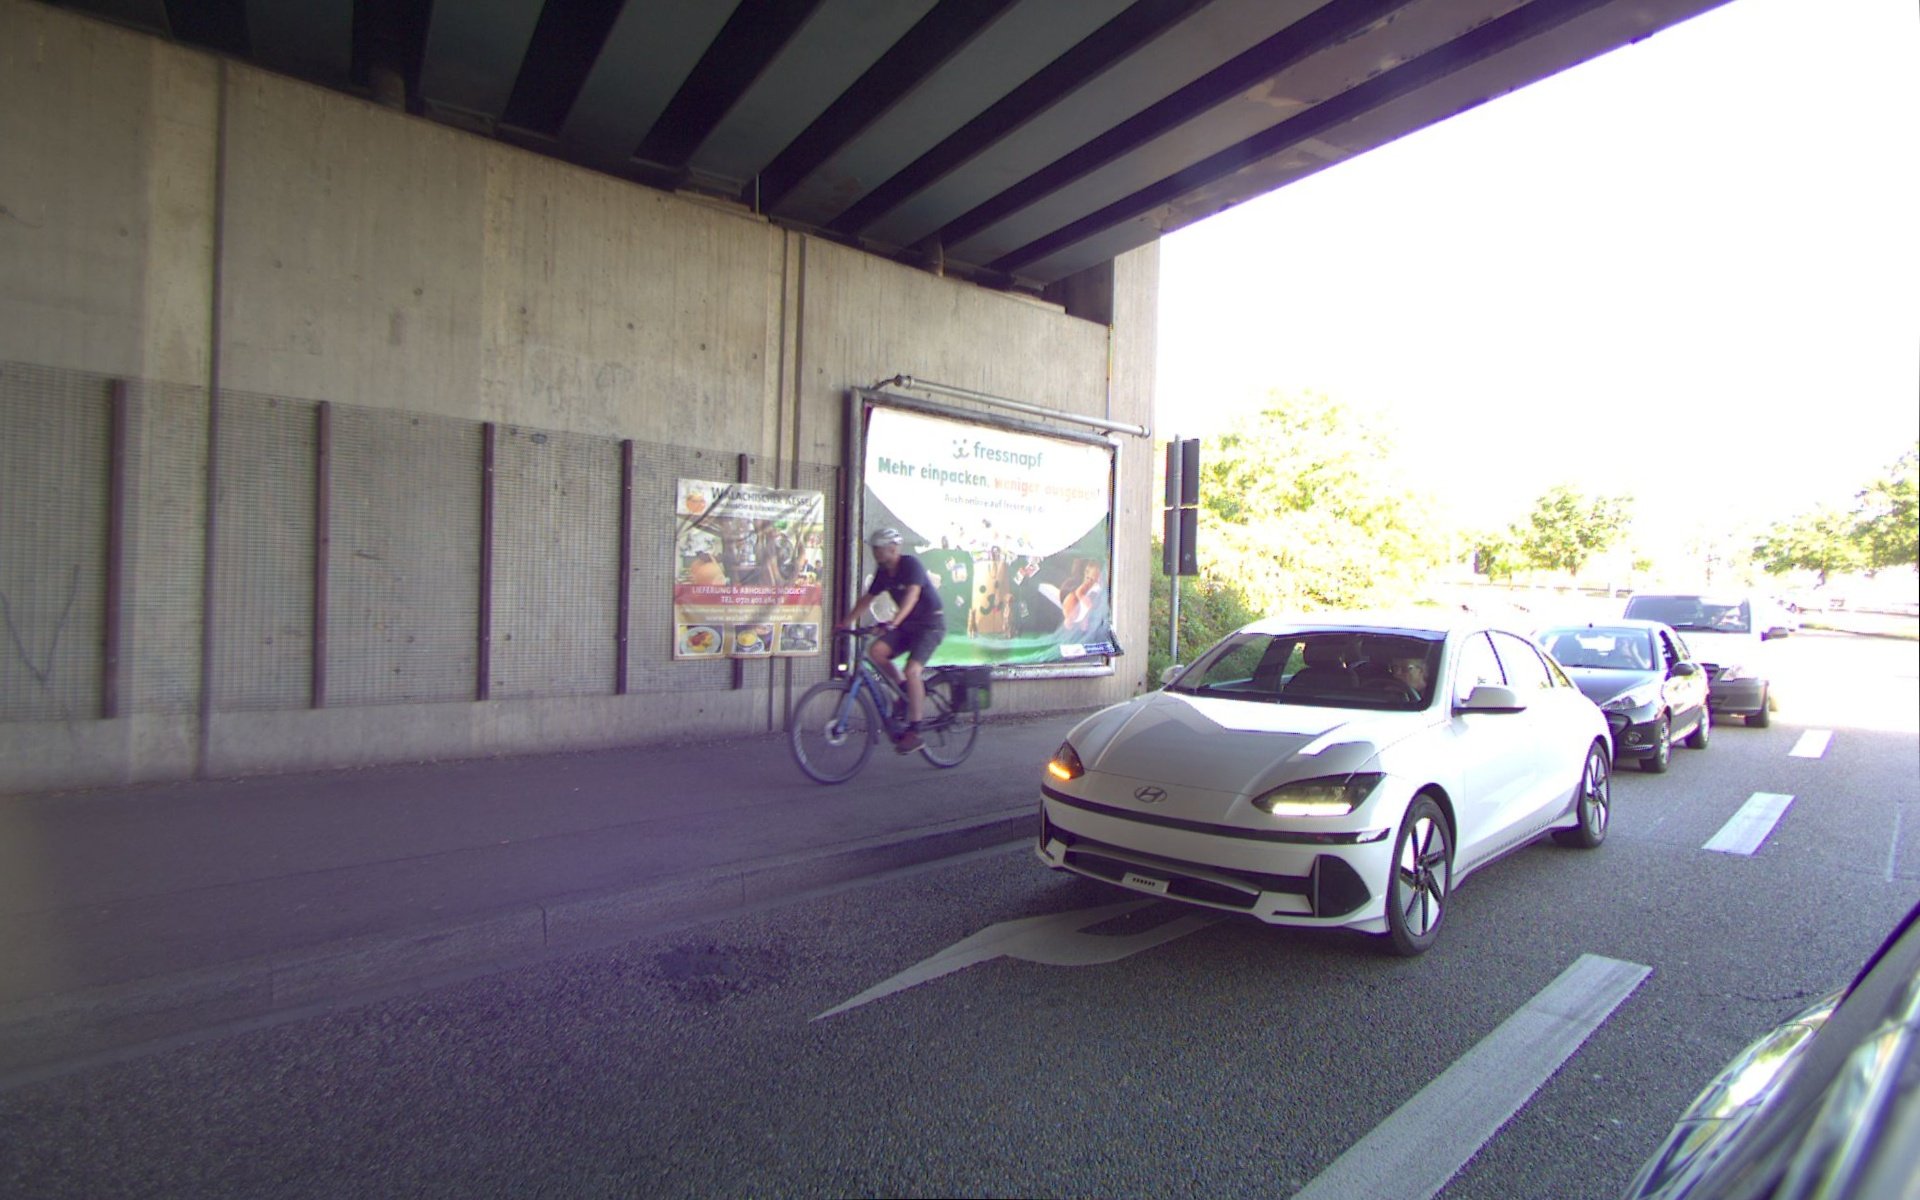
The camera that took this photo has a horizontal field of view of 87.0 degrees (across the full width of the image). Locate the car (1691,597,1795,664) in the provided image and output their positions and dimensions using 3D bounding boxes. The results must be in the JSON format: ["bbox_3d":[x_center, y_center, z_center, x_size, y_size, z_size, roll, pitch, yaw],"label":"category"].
[{"bbox_3d":[20.461,0.718,26.426,1.990,1.570,4.359,1,1,39],"label":"car"}]

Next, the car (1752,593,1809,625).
[{"bbox_3d":[41.358,0.420,51.075,1.724,1.421,3.829,0,2,32],"label":"car"}]

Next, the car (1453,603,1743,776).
[{"bbox_3d":[6.804,0.779,10.650,3.654,1.474,1.747,0,0,-43],"label":"car"}]

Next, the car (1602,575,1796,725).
[{"bbox_3d":[11.071,0.612,15.005,1.896,1.859,4.762,0,0,42],"label":"car"}]

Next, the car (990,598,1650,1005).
[{"bbox_3d":[2.407,0.735,5.913,4.585,1.474,1.747,0,0,-43],"label":"car"}]

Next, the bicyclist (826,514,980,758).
[{"bbox_3d":[-0.425,0.242,7.523,0.871,1.676,0.748,0,0,-41],"label":"bicyclist"}]

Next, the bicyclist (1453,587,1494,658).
[{"bbox_3d":[11.710,0.506,23.073,0.651,1.552,0.836,4,2,36],"label":"bicyclist"}]

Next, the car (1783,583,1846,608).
[{"bbox_3d":[57.897,-0.343,68.660,1.783,1.626,4.269,1,1,19],"label":"car"}]

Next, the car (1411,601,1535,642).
[{"bbox_3d":[21.358,0.872,42.209,4.440,1.616,1.823,0,0,-13],"label":"car"}]

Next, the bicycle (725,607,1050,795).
[{"bbox_3d":[-0.455,0.653,7.511,2.427,1.160,0.766,1,1,-42],"label":"bicycle"}]

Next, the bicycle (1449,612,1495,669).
[{"bbox_3d":[11.690,0.894,23.083,0.649,1.181,1.756,4,2,35],"label":"bicycle"}]
